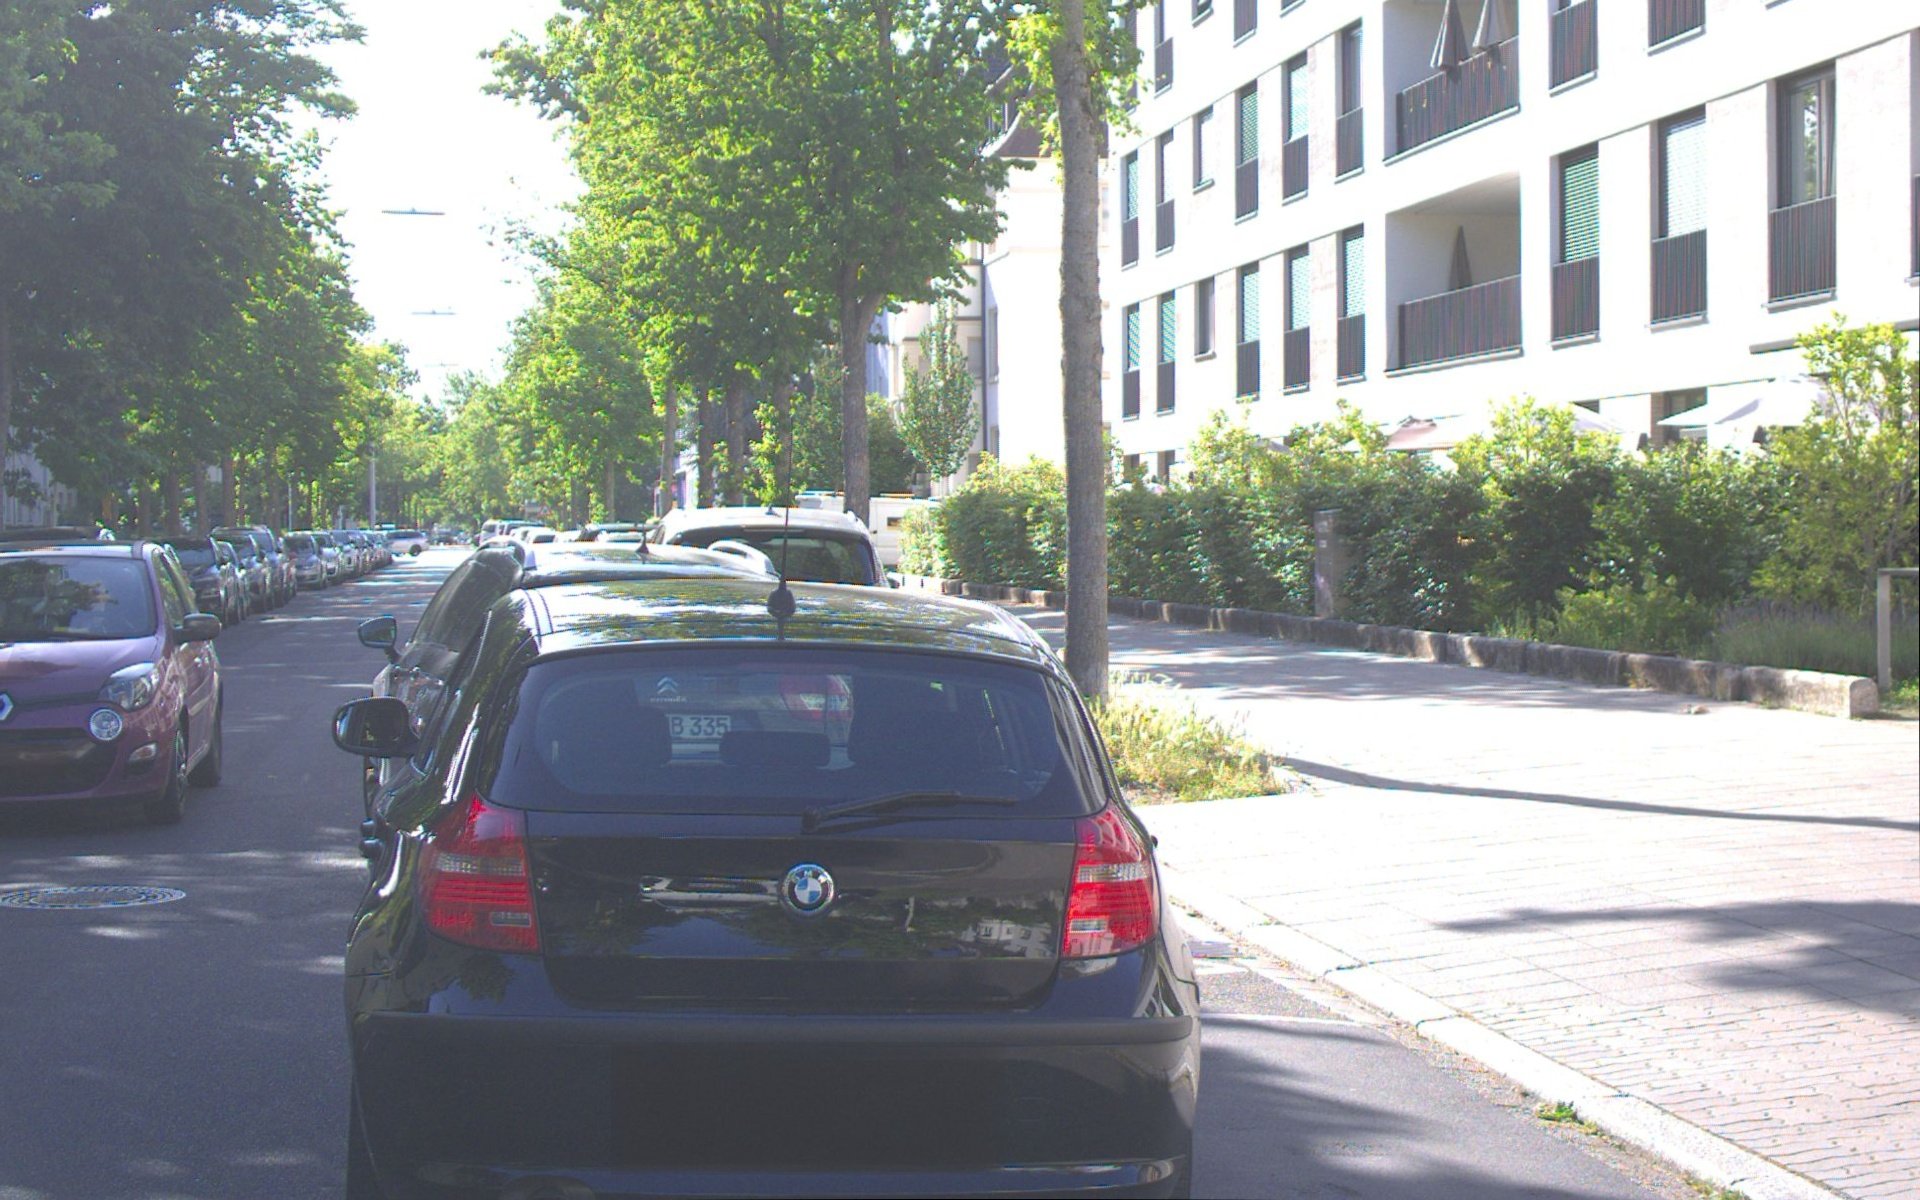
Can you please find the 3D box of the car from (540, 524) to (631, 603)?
[{"bbox_3d":[-7.486,-0.749,68.572,1.720,1.475,3.852,1,1,-7],"label":"car"}]

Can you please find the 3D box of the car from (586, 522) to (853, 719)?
[{"bbox_3d":[-2.071,0.114,28.584,1.693,1.518,4.001,0,1,-12],"label":"car"}]

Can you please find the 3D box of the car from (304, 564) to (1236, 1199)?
[{"bbox_3d":[-0.567,0.657,7.836,1.649,1.392,3.412,-1,2,-8],"label":"car"}]

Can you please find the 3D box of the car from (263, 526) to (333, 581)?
[{"bbox_3d":[-17.436,-1.244,90.695,1.612,1.387,3.867,-2,2,-9],"label":"car"}]

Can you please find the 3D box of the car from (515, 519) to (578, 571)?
[{"bbox_3d":[-12.426,-1.670,103.520,1.720,1.475,3.852,-1,1,-5],"label":"car"}]

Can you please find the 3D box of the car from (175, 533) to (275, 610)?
[{"bbox_3d":[-14.230,-0.576,66.700,1.612,1.387,3.867,-2,2,-9],"label":"car"}]

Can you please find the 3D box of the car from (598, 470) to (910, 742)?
[{"bbox_3d":[-1.469,0.010,22.882,1.847,1.625,4.411,0,1,-6],"label":"car"}]

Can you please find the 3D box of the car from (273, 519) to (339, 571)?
[{"bbox_3d":[-18.251,-1.553,96.056,1.612,1.387,3.867,-2,2,-9],"label":"car"}]

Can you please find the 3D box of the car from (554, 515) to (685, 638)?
[{"bbox_3d":[-4.871,-0.357,48.836,1.720,1.635,3.852,1,1,-7],"label":"car"}]

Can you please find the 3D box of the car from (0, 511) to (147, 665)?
[{"bbox_3d":[-10.555,-0.178,40.265,1.612,1.673,4.235,-2,2,-9],"label":"car"}]

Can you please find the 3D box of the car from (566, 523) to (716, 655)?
[{"bbox_3d":[-4.017,-0.167,42.890,1.720,1.523,4.001,1,1,-7],"label":"car"}]

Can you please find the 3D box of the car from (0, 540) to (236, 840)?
[{"bbox_3d":[-4.850,0.421,18.402,1.505,1.421,3.178,-1,2,-5],"label":"car"}]

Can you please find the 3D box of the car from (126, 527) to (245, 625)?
[{"bbox_3d":[-12.887,-0.429,57.337,1.612,1.537,3.867,-2,2,-9],"label":"car"}]

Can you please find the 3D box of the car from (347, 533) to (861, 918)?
[{"bbox_3d":[-1.705,0.437,15.236,1.649,1.420,4.002,-1,2,-15],"label":"car"}]

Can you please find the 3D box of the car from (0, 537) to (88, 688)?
[{"bbox_3d":[-9.884,0.105,34.869,1.612,1.422,3.727,-2,2,-9],"label":"car"}]

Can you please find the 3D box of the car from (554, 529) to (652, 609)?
[{"bbox_3d":[-6.650,-0.596,63.854,1.720,1.374,3.852,1,1,-7],"label":"car"}]

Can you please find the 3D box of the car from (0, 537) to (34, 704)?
[{"bbox_3d":[-9.123,0.198,29.830,1.612,1.422,4.059,-2,2,-9],"label":"car"}]
